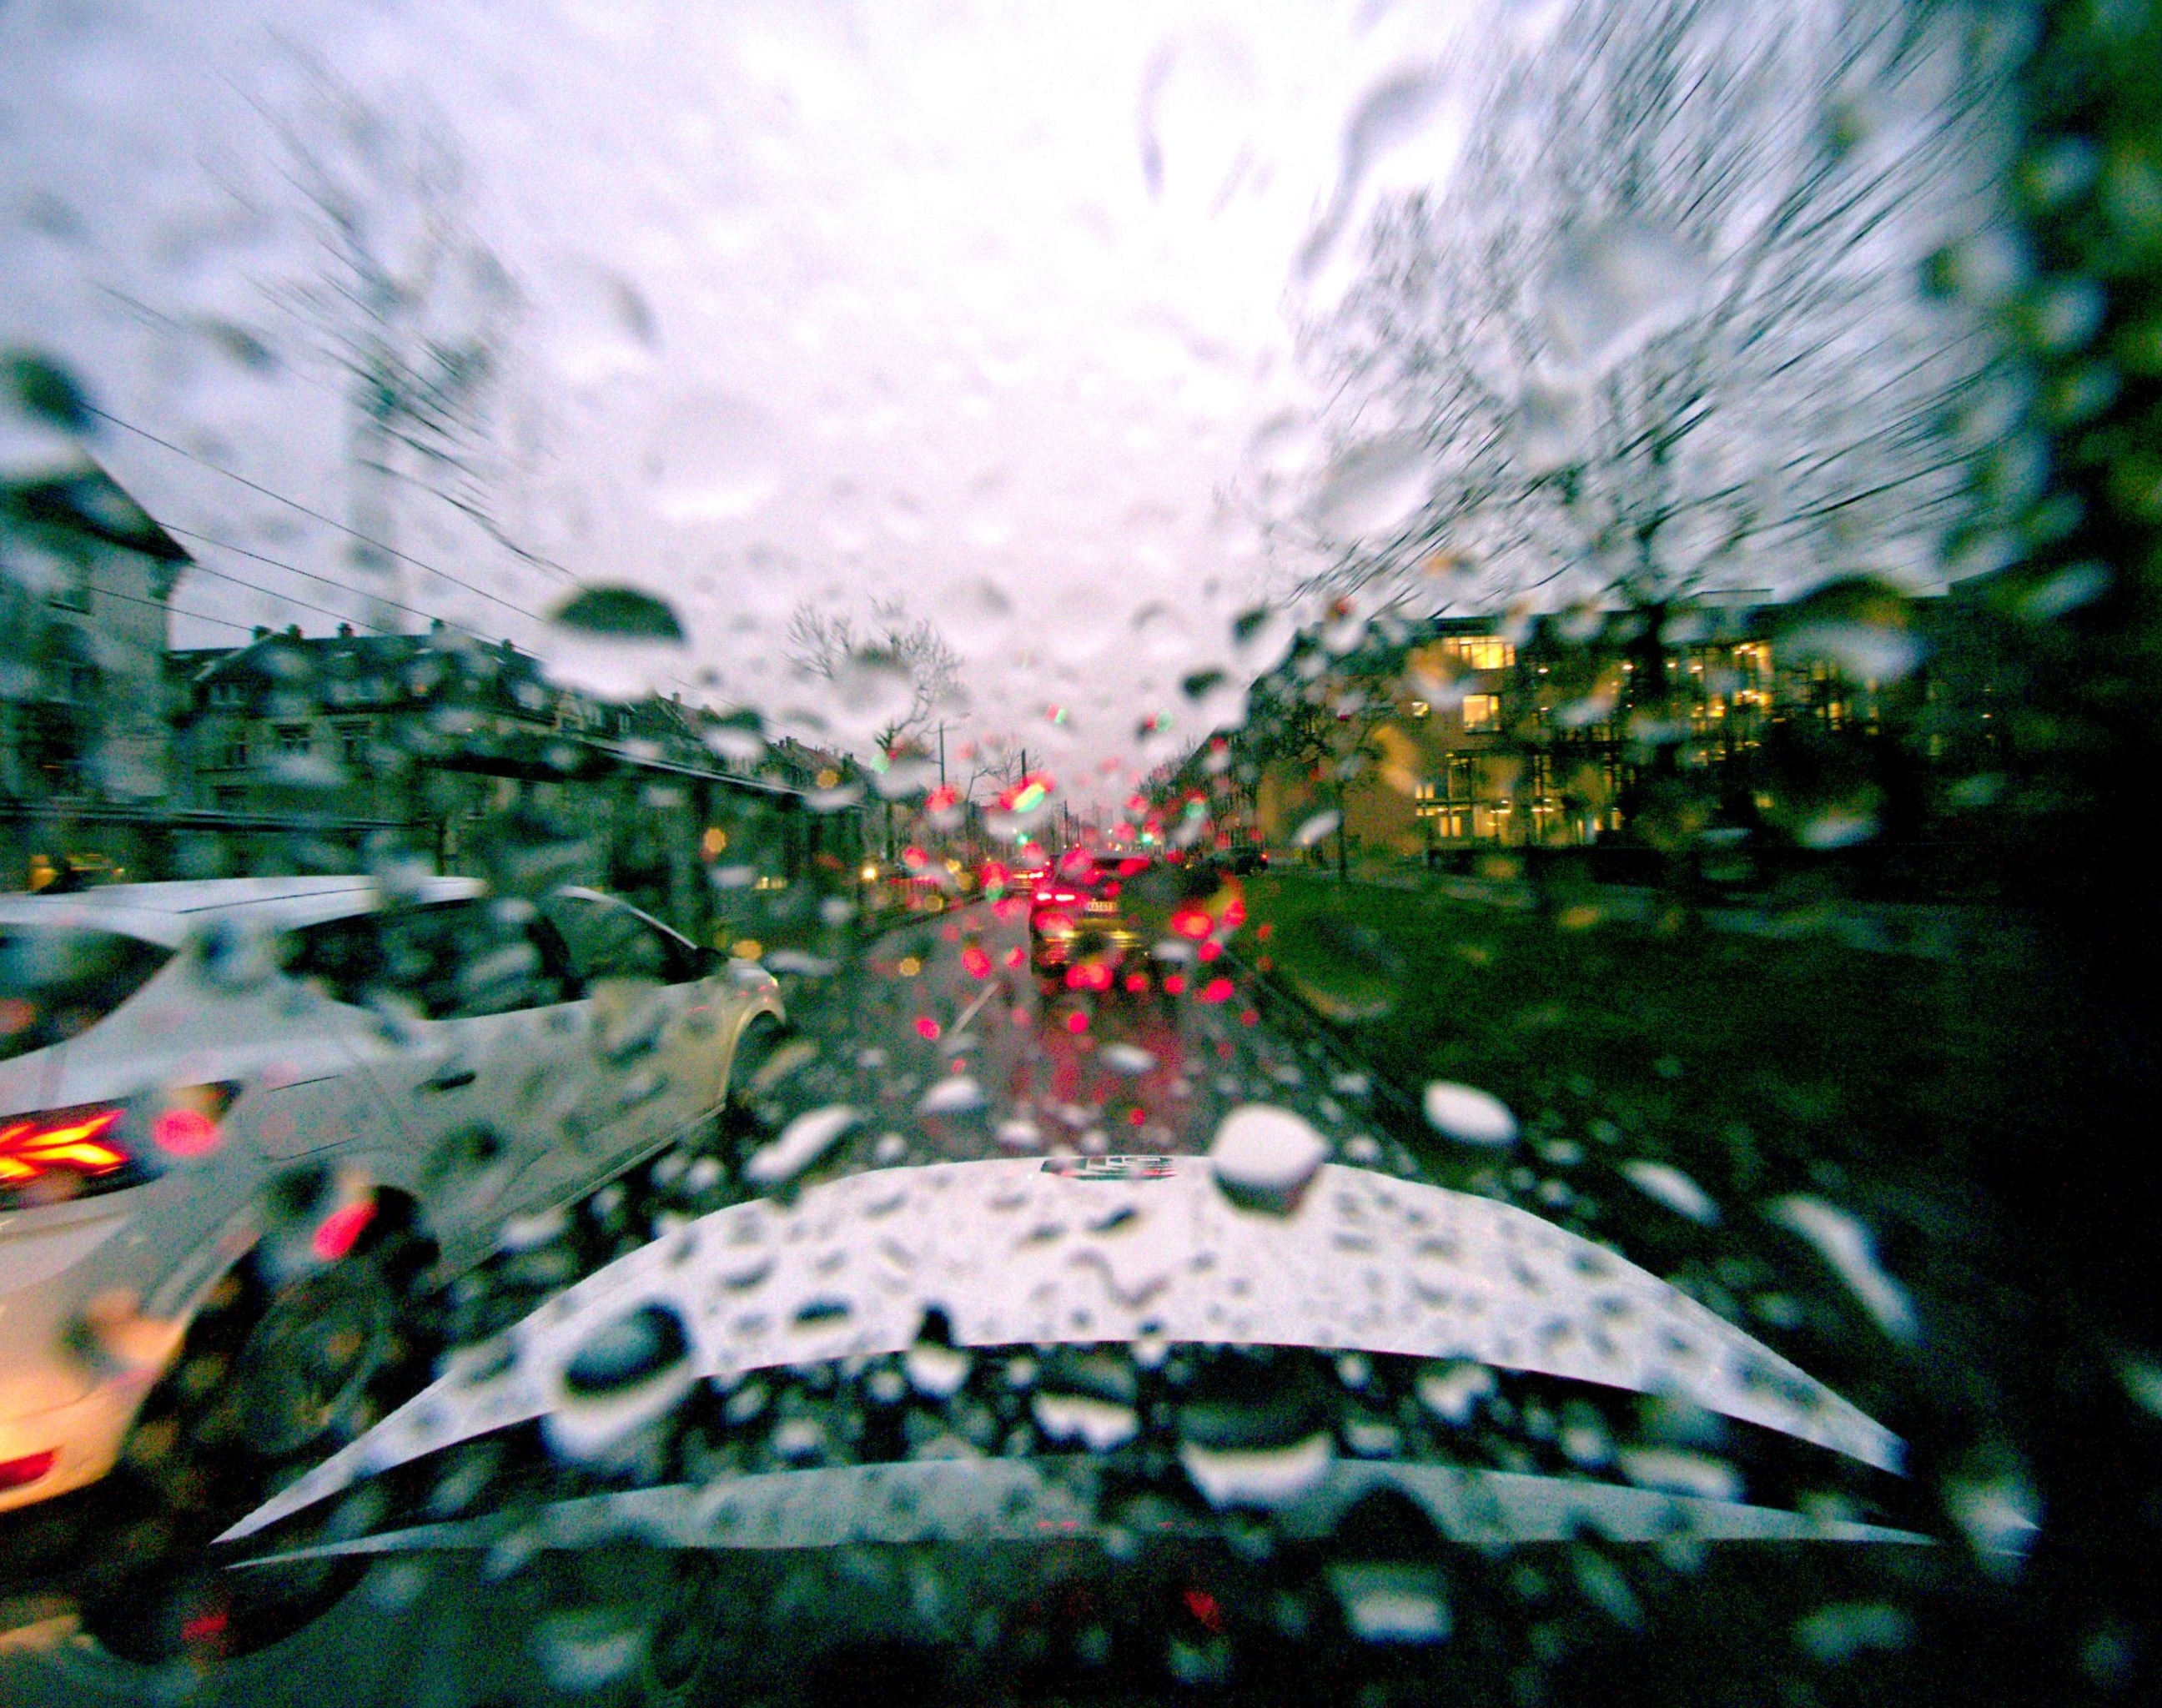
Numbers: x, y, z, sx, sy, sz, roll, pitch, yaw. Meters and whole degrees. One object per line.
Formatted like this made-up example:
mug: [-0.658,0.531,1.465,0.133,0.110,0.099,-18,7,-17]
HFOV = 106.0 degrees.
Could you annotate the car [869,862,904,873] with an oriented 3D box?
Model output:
car: [-23.916,1.627,100.389,3.753,1.156,1.653,-3,0,7]

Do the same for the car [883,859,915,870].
car: [-23.898,1.379,106.908,3.753,1.156,1.653,-3,0,7]

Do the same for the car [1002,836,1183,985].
car: [0.216,0.638,11.288,1.983,1.616,4.003,-3,0,2]

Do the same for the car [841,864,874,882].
car: [-19.671,1.693,71.785,1.648,1.398,3.769,-3,0,2]

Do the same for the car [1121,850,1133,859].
car: [8.323,0.105,148.382,1.986,1.598,4.002,-3,0,2]

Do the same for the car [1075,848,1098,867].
car: [0.529,0.332,77.048,1.986,1.618,4.001,-3,0,1]

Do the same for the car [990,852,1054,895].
car: [-2.140,0.693,30.577,1.986,1.398,4.001,-3,0,1]

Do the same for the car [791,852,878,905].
car: [-9.534,0.891,31.892,1.986,1.823,4.002,-3,0,2]

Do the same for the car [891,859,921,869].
car: [-24.323,1.445,113.317,3.753,1.156,1.653,-3,0,7]

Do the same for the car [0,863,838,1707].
car: [-2.535,0.863,3.317,1.619,1.487,4.004,-3,1,3]

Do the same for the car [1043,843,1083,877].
car: [-0.957,0.317,46.553,1.986,1.765,4.002,-3,0,2]

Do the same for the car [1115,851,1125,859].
car: [8.113,0.154,168.814,1.986,1.479,4.002,-3,0,2]

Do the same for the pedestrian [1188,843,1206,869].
pedestrian: [7.224,0.147,50.783,0.893,1.596,0.505,-3,0,44]

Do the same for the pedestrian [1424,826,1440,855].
pedestrian: [20.481,-0.780,47.500,0.628,1.637,0.738,-3,0,7]

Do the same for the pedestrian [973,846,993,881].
pedestrian: [-4.443,0.415,36.913,0.696,1.552,0.669,-3,0,2]

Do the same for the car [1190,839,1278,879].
car: [7.305,0.238,39.159,3.844,1.560,1.767,-5,0,3]

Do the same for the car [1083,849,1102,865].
car: [1.346,0.352,95.283,1.986,1.704,4.002,-3,0,2]

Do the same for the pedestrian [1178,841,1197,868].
pedestrian: [6.352,0.046,48.661,0.893,1.596,0.505,-3,0,44]
